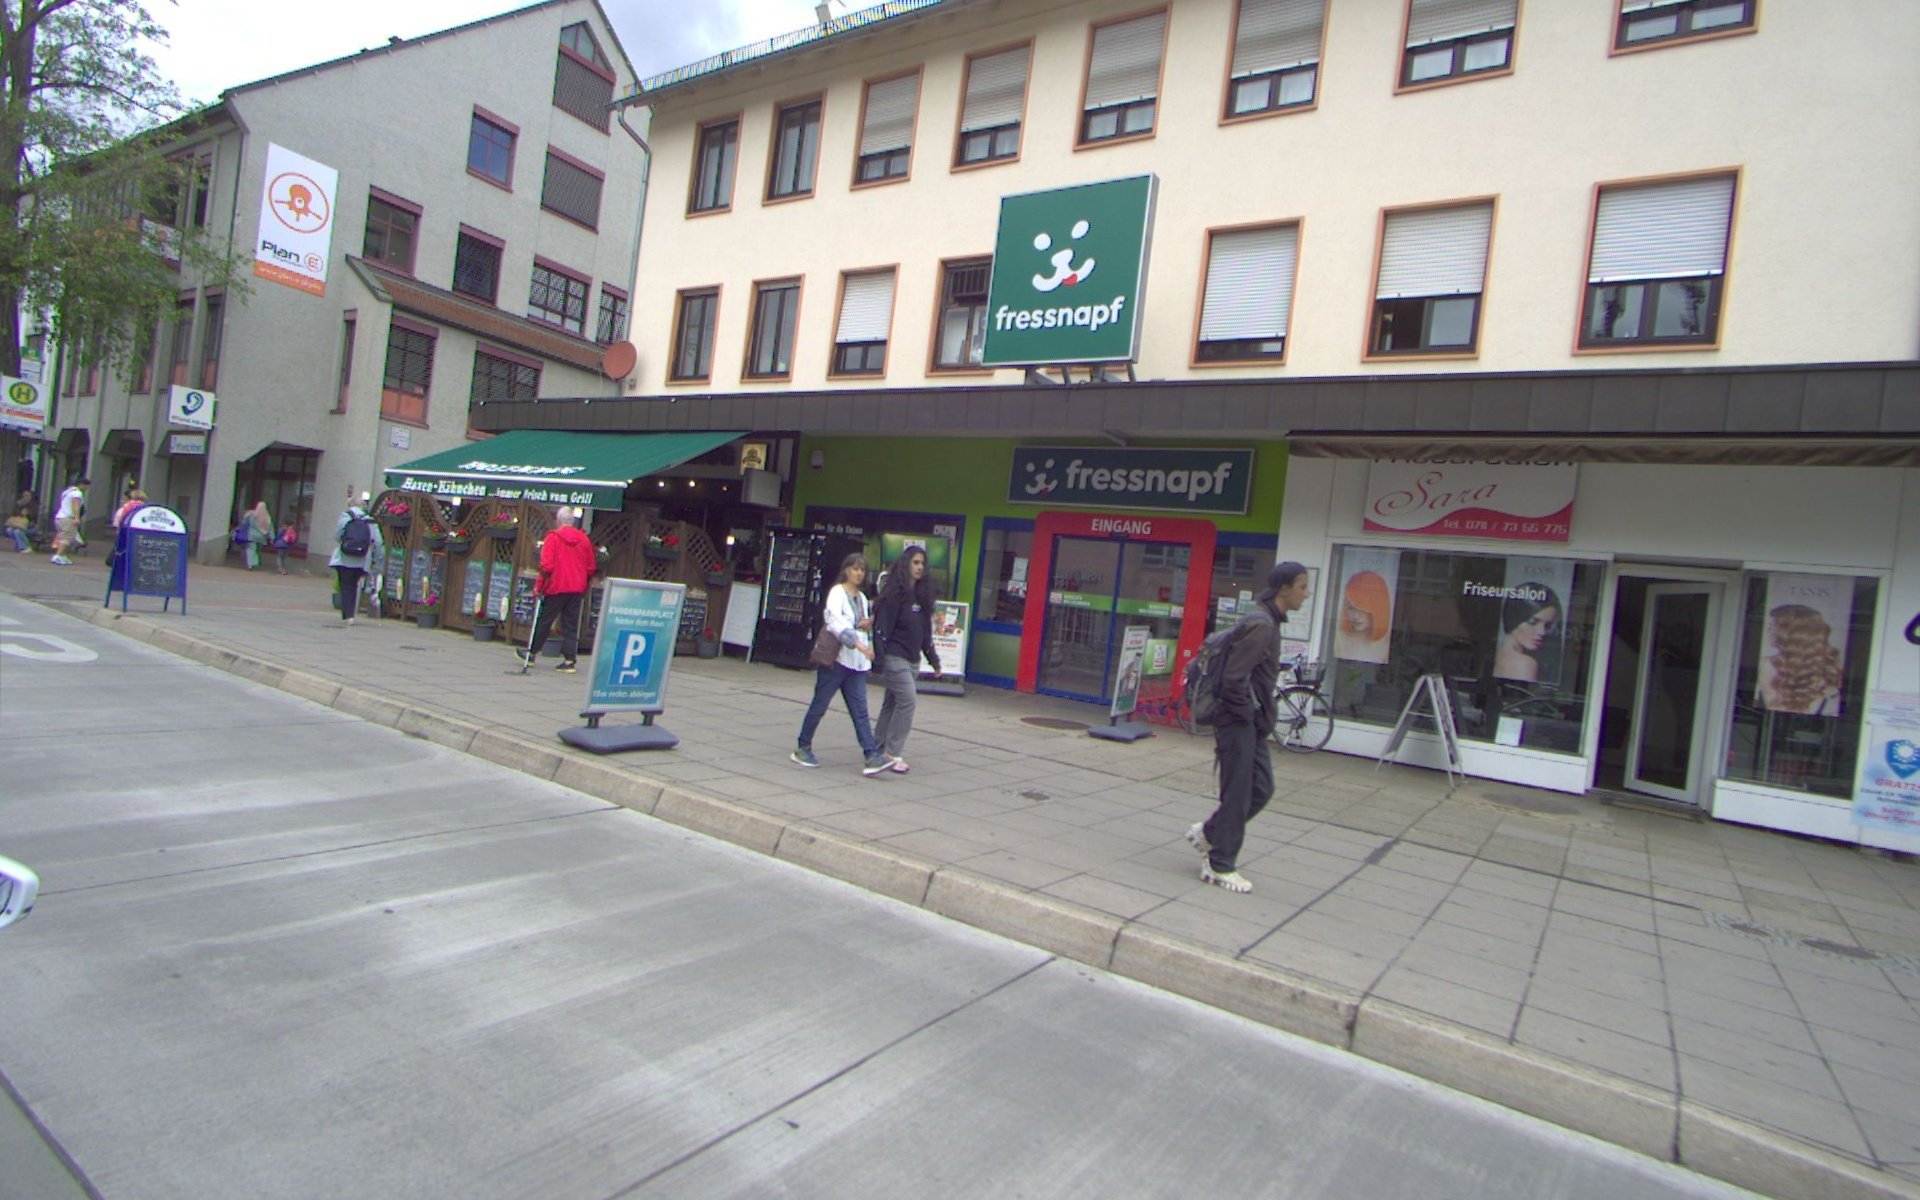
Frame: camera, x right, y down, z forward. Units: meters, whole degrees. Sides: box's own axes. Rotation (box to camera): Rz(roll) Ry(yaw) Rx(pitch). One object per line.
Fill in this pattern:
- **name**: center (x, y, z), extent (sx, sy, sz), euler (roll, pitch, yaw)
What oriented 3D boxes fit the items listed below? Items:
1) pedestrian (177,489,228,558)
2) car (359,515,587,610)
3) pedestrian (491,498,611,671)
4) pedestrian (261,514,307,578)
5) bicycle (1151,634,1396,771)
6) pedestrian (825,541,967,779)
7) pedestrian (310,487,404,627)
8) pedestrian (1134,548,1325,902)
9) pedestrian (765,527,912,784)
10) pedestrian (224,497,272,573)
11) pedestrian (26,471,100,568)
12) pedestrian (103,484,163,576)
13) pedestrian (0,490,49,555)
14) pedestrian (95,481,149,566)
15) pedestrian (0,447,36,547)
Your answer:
- **pedestrian**: center (-19.666, -1.980, 26.121), extent (0.604, 1.654, 0.727), euler (8, 1, 25)
- **car**: center (-11.844, -0.864, 24.750), extent (1.852, 1.639, 4.605), euler (7, -1, 37)
- **pedestrian**: center (-4.422, -0.164, 10.901), extent (0.768, 1.765, 0.796), euler (6, 2, 28)
- **pedestrian**: center (-15.905, -1.257, 23.660), extent (0.605, 1.392, 0.586), euler (8, 1, 36)
- **bicycle**: center (3.344, 1.053, 10.856), extent (2.312, 1.076, 0.741), euler (7, 2, 32)
- **pedestrian**: center (-0.469, 0.439, 7.566), extent (0.605, 1.655, 0.719), euler (7, 1, 31)
- **pedestrian**: center (-8.035, -0.564, 13.409), extent (0.768, 1.765, 0.683), euler (6, 2, 28)
- **pedestrian**: center (1.437, 0.628, 5.340), extent (0.605, 1.699, 0.612), euler (8, 2, 36)
- **pedestrian**: center (-0.839, 0.370, 6.992), extent (0.605, 1.655, 0.613), euler (7, 1, 31)
- **pedestrian**: center (-16.509, -1.504, 23.337), extent (0.605, 1.654, 0.586), euler (8, 1, 35)
- **pedestrian**: center (-16.764, -1.500, 18.800), extent (0.779, 1.655, 0.615), euler (8, 1, 21)
- **pedestrian**: center (-15.410, -1.305, 18.762), extent (0.669, 1.586, 0.487), euler (9, 1, -36)
- **pedestrian**: center (-18.862, -1.550, 20.103), extent (0.577, 1.180, 0.713), euler (8, 0, 27)
- **pedestrian**: center (-17.474, -1.599, 20.979), extent (0.579, 1.654, 0.613), euler (8, 0, 38)
- **pedestrian**: center (-20.597, -2.238, 21.912), extent (0.610, 2.074, 0.581), euler (4, 3, -43)
